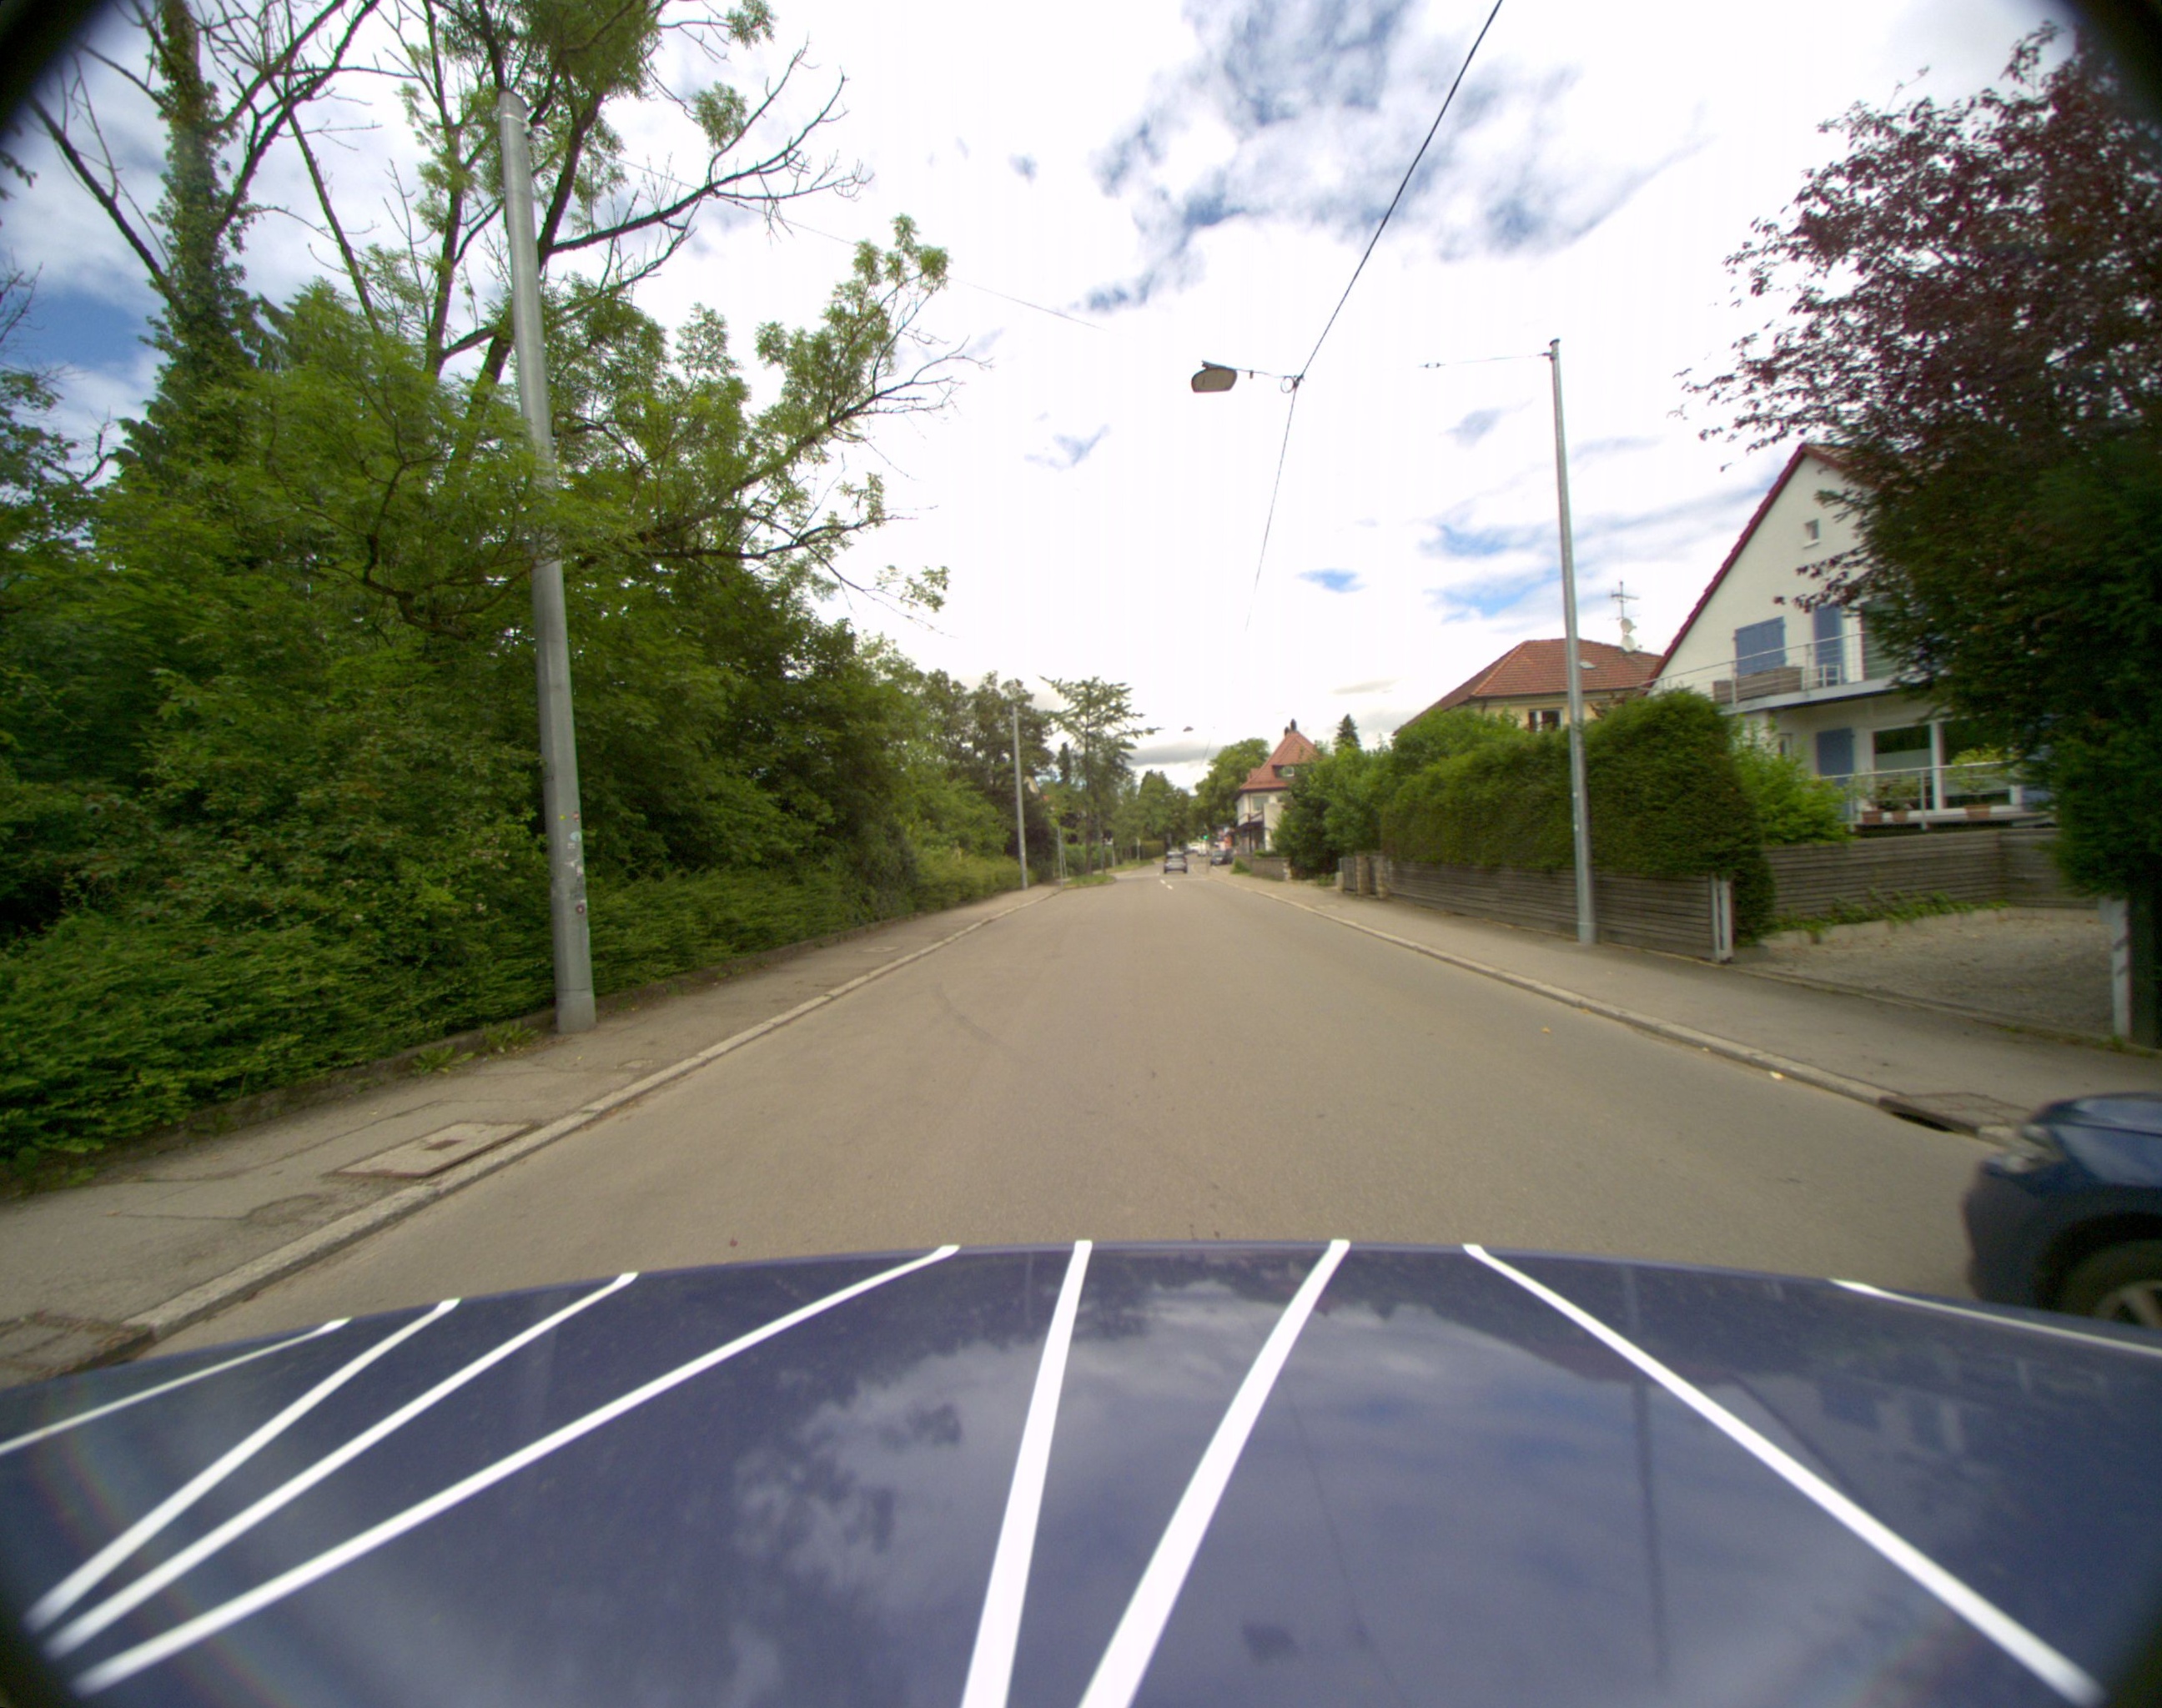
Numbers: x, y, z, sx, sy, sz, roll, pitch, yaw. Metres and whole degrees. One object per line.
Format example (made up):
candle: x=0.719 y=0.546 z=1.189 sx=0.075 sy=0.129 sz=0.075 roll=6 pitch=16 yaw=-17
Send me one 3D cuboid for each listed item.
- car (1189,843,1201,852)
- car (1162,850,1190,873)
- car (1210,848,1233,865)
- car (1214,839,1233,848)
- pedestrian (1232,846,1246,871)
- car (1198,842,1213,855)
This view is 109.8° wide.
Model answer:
car: x=22.388 y=-1.274 z=148.959 sx=1.998 sy=1.687 sz=4.001 roll=-5 pitch=1 yaw=5
car: x=7.329 y=0.536 z=58.867 sx=1.844 sy=1.646 sz=4.139 roll=0 pitch=1 yaw=3
car: x=13.999 y=0.234 z=75.397 sx=1.821 sy=1.344 sz=3.395 roll=-5 pitch=1 yaw=16
car: x=32.692 y=-2.375 z=174.171 sx=3.992 sy=1.729 sz=2.002 roll=-5 pitch=1 yaw=18
pedestrian: x=11.658 y=0.309 z=56.051 sx=0.821 sy=1.734 sz=0.604 roll=-5 pitch=1 yaw=6
car: x=20.301 y=-0.938 z=124.457 sx=1.884 sy=1.905 sz=4.834 roll=-6 pitch=0 yaw=5
